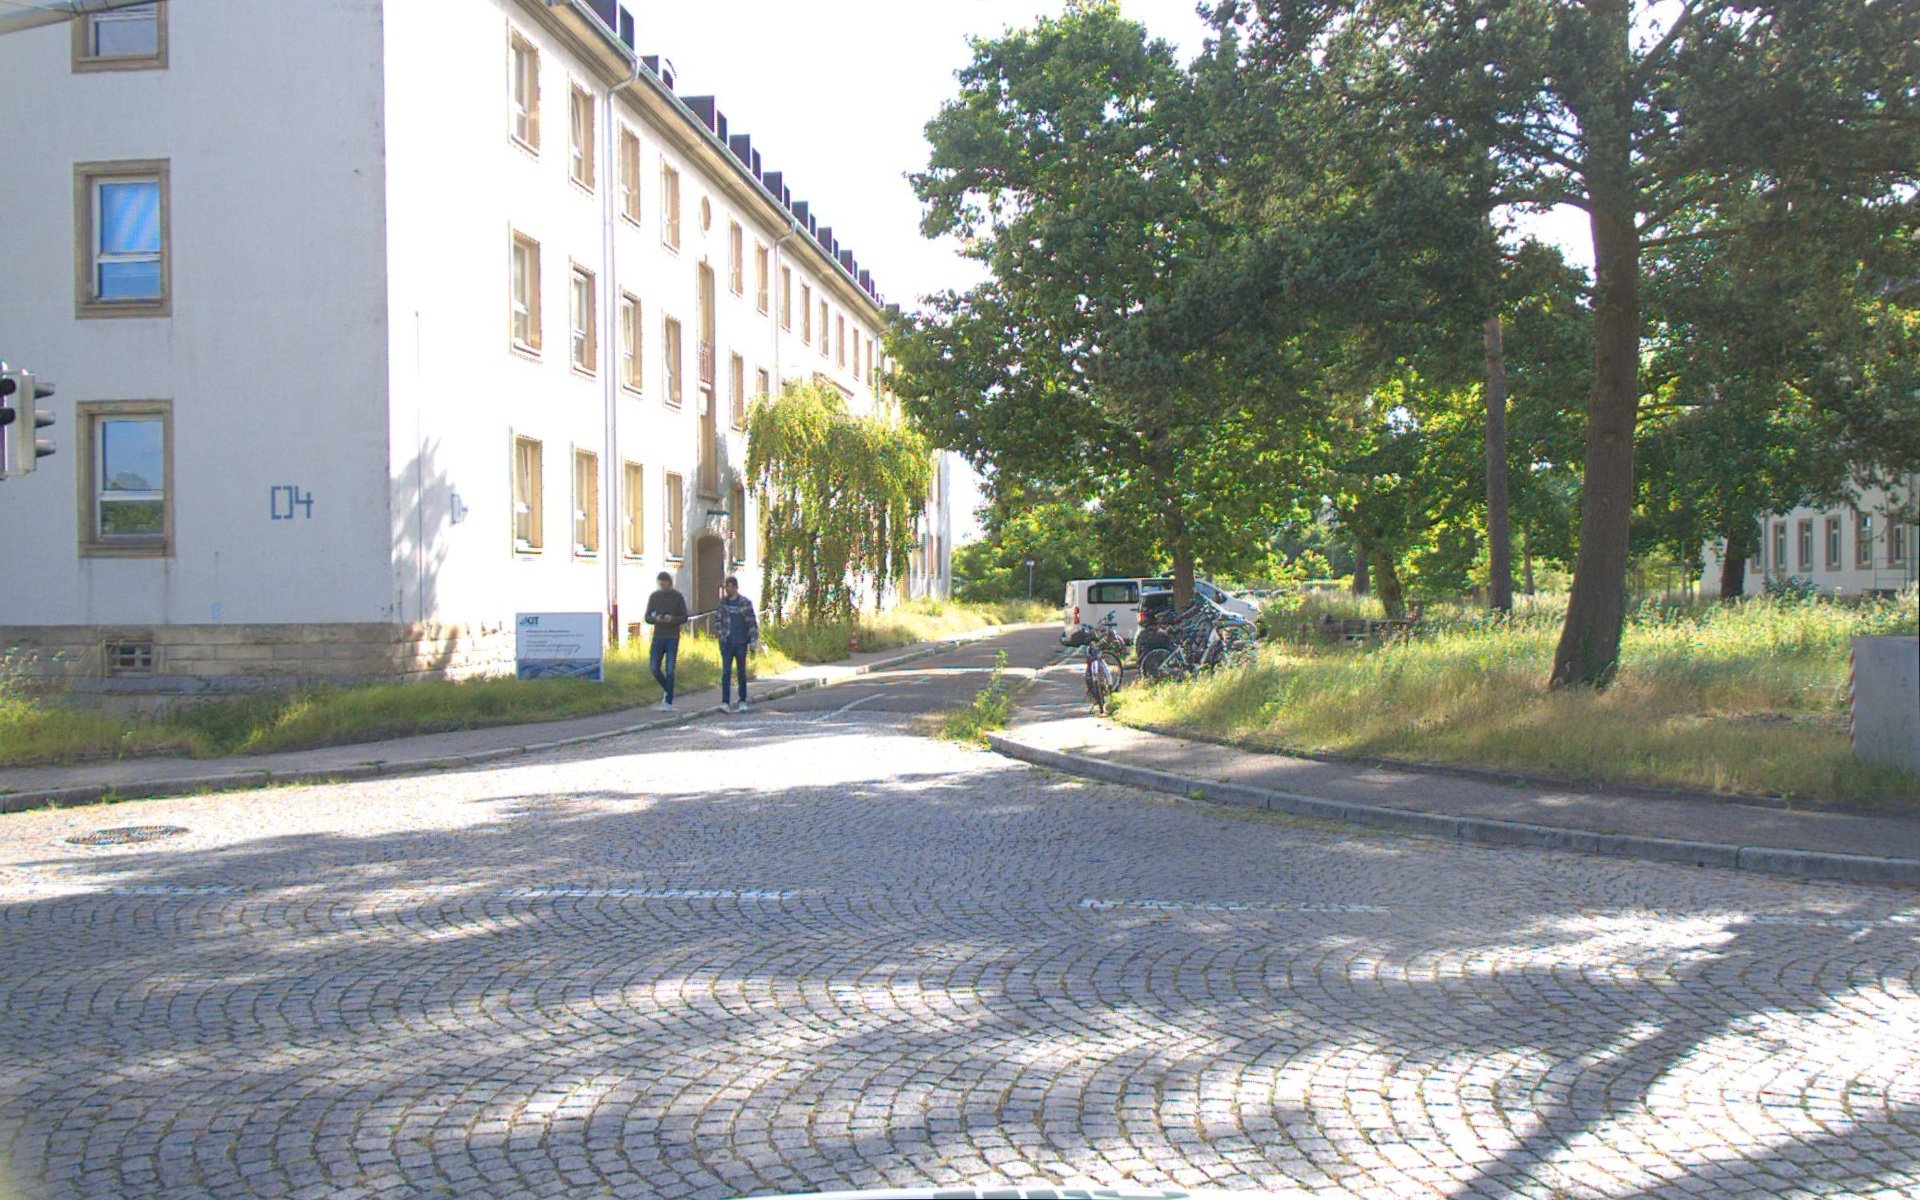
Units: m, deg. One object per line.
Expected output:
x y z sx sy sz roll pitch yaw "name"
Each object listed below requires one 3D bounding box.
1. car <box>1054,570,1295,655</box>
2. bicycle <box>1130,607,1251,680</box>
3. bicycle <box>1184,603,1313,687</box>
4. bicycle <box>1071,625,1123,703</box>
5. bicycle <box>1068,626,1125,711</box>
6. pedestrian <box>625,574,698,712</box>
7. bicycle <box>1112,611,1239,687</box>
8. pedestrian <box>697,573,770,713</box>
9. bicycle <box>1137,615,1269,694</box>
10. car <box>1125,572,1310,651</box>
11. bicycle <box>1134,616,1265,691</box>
5.366 0.304 42.040 5.809 2.049 2.475 -1 0 0 "car"
3.765 0.705 27.142 1.900 1.149 0.648 -1 0 1 "bicycle"
4.424 0.682 25.432 1.900 1.257 0.485 -1 0 4 "bicycle"
1.878 0.849 22.683 0.681 0.988 1.862 0 0 5 "bicycle"
1.713 0.835 20.742 0.681 0.988 1.862 0 0 5 "bicycle"
-4.043 0.573 22.447 0.794 1.849 0.555 -1 0 18 "pedestrian"
3.395 0.757 26.071 1.912 1.149 0.644 -1 0 -20 "bicycle"
-3.055 0.573 22.333 0.751 1.849 0.683 -1 0 17 "pedestrian"
3.629 0.806 24.829 1.900 1.149 0.750 -1 0 4 "bicycle"
5.804 0.255 37.621 3.906 1.713 1.847 -1 0 -1 "car"
3.462 0.766 24.042 1.815 1.049 0.750 -1 0 4 "bicycle"
